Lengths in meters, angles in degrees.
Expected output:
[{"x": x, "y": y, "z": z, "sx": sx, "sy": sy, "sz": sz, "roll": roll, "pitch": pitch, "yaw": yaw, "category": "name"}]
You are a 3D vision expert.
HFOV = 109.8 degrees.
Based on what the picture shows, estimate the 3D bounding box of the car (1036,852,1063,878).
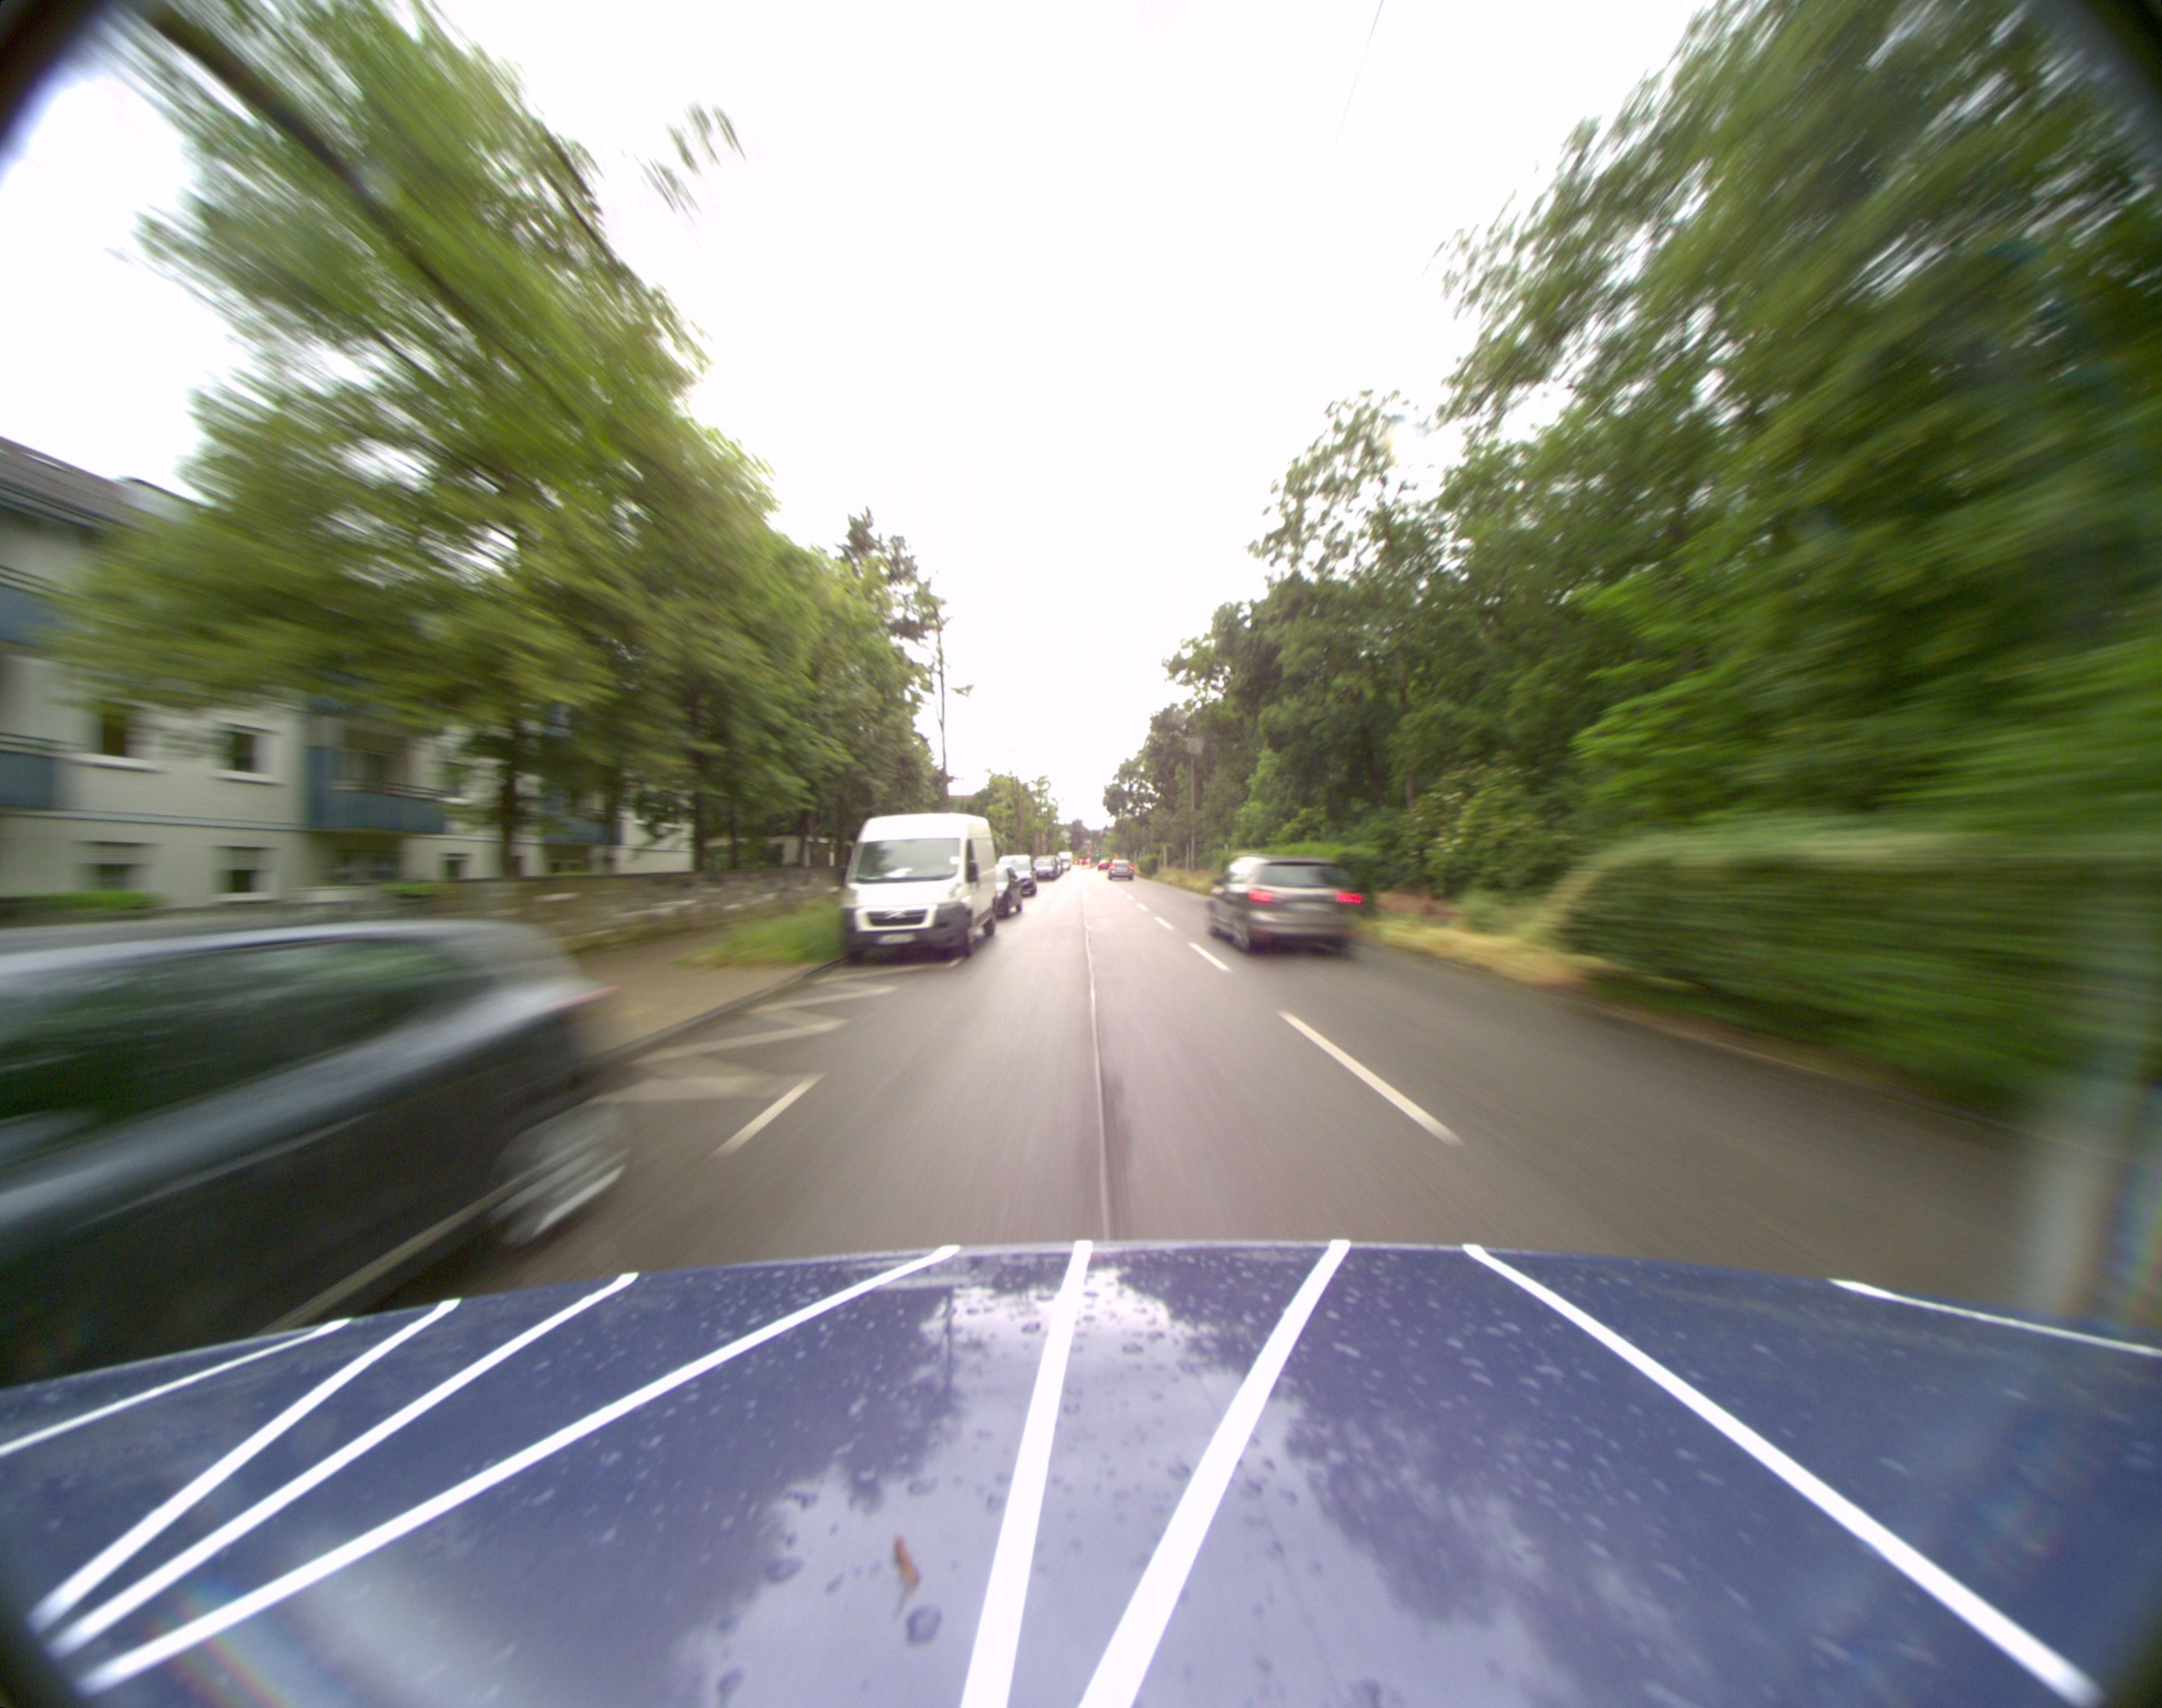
[{"x": -2.649, "y": 0.946, "z": 65.472, "sx": 1.998, "sy": 2.001, "sz": 4.888, "roll": -3, "pitch": -1, "yaw": 1, "category": "car"}]

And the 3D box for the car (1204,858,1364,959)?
[{"x": 3.320, "y": 0.828, "z": 13.213, "sx": 1.734, "sy": 1.483, "sz": 4.000, "roll": 0, "pitch": -1, "yaw": 0, "category": "car"}]

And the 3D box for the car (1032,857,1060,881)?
[{"x": -2.659, "y": 1.158, "z": 58.401, "sx": 1.778, "sy": 1.712, "sz": 4.327, "roll": -3, "pitch": -1, "yaw": 1, "category": "car"}]

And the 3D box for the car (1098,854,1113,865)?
[{"x": 3.388, "y": 0.782, "z": 105.625, "sx": 1.865, "sy": 1.471, "sz": 4.156, "roll": 0, "pitch": 0, "yaw": 1, "category": "car"}]

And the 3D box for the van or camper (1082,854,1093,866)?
[{"x": 1.951, "y": 1.798, "z": 218.349, "sx": 2.863, "sy": 3.159, "sz": 6.852, "roll": -3, "pitch": -1, "yaw": 2, "category": "van or camper"}]

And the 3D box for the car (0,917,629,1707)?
[{"x": -3.000, "y": 1.048, "z": 1.618, "sx": 1.745, "sy": 1.470, "sz": 3.963, "roll": -3, "pitch": -1, "yaw": -2, "category": "car"}]

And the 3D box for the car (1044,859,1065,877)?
[{"x": -2.465, "y": 1.301, "z": 71.591, "sx": 1.809, "sy": 1.603, "sz": 4.286, "roll": -3, "pitch": -1, "yaw": 0, "category": "car"}]

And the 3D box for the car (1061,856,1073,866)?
[{"x": -2.060, "y": 1.033, "z": 113.180, "sx": 1.786, "sy": 1.387, "sz": 4.000, "roll": -3, "pitch": -1, "yaw": -1, "category": "car"}]

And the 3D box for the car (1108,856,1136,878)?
[{"x": 2.963, "y": 0.916, "z": 55.569, "sx": 1.788, "sy": 1.471, "sz": 3.967, "roll": -1, "pitch": 1, "yaw": 0, "category": "car"}]

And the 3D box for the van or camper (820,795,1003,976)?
[{"x": -2.828, "y": 0.508, "z": 14.151, "sx": 2.084, "sy": 2.635, "sz": 5.346, "roll": -3, "pitch": -1, "yaw": 0, "category": "van or camper"}]

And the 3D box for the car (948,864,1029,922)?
[{"x": -2.583, "y": 1.070, "z": 22.012, "sx": 1.629, "sy": 1.455, "sz": 3.809, "roll": -3, "pitch": -1, "yaw": 3, "category": "car"}]

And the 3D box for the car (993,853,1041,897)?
[{"x": -2.840, "y": 0.906, "z": 34.604, "sx": 1.819, "sy": 1.802, "sz": 4.282, "roll": -3, "pitch": -1, "yaw": -1, "category": "car"}]
